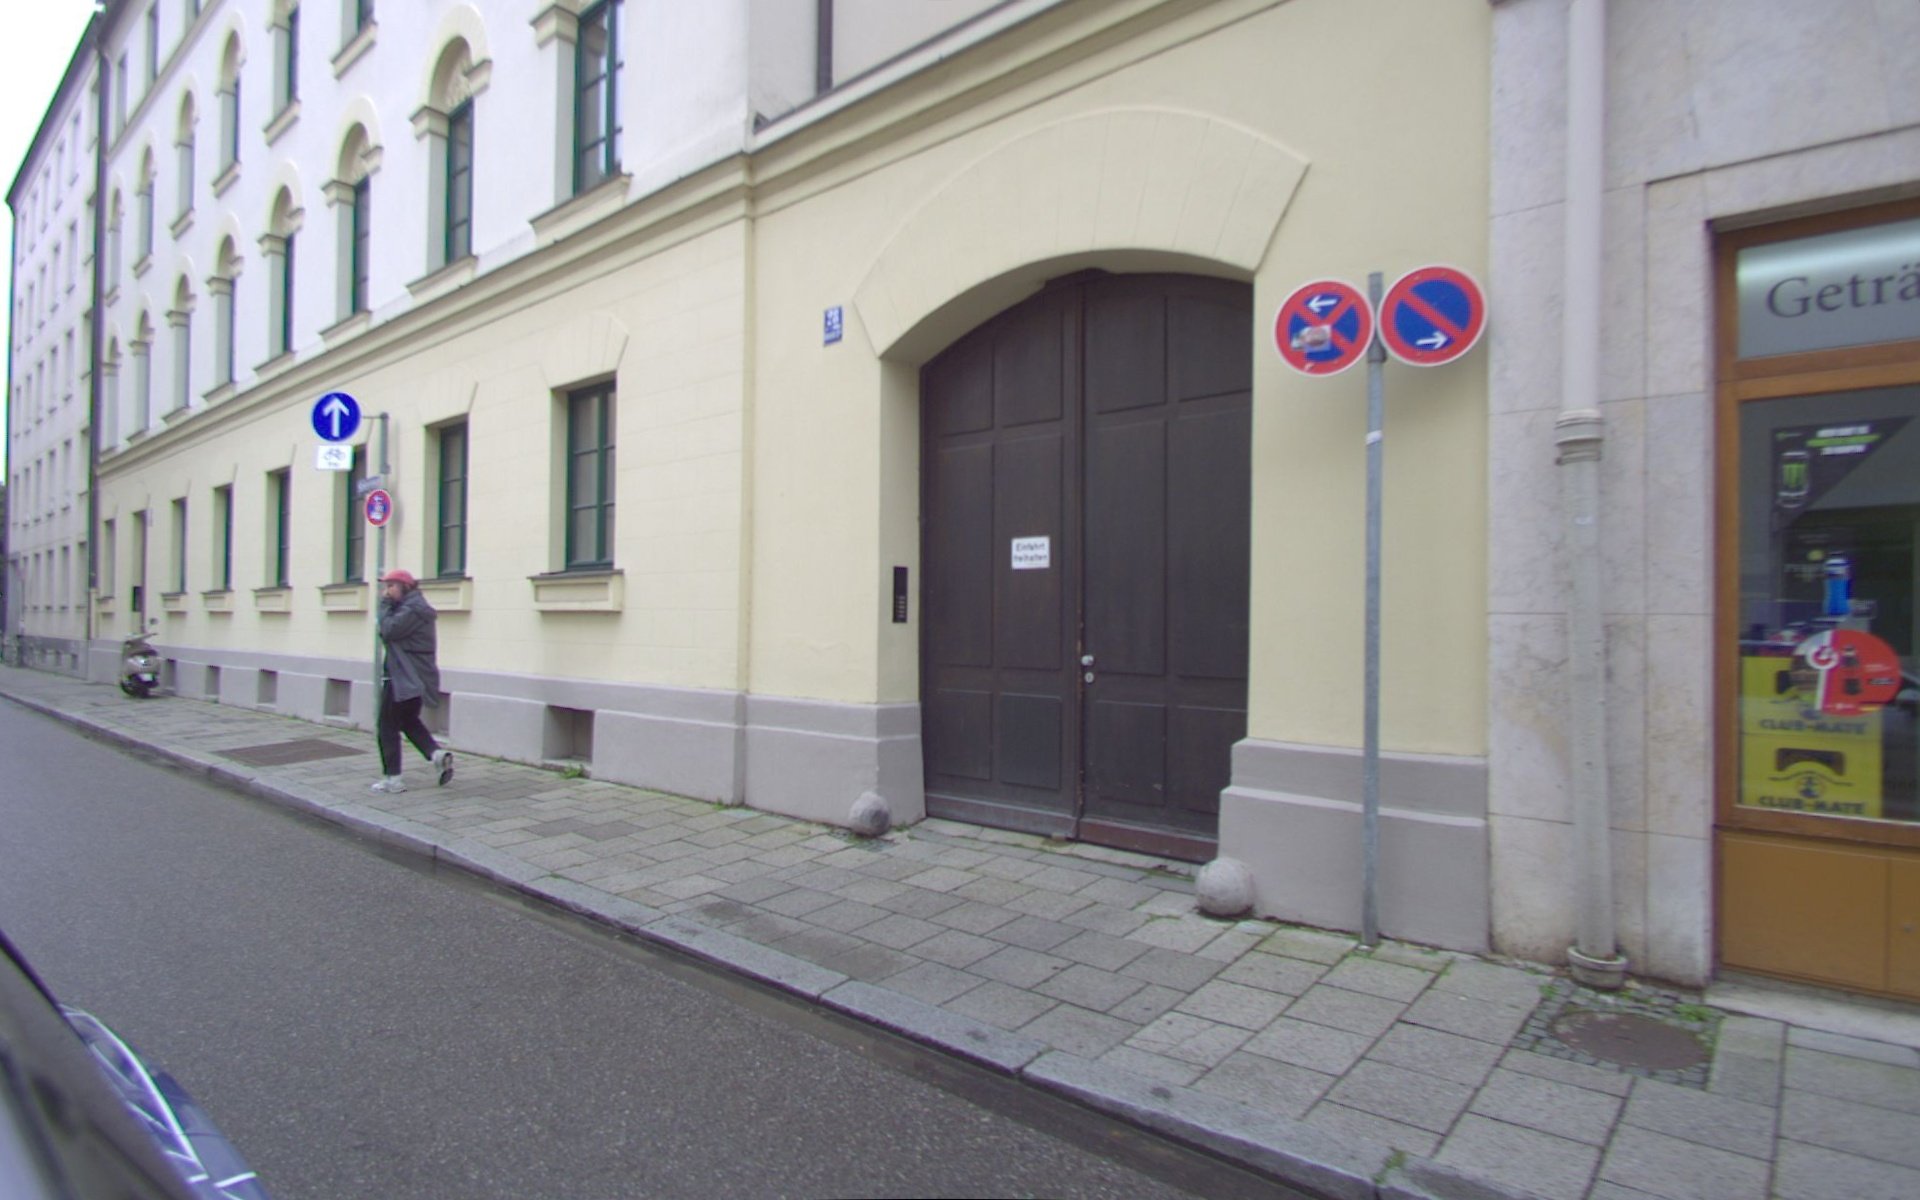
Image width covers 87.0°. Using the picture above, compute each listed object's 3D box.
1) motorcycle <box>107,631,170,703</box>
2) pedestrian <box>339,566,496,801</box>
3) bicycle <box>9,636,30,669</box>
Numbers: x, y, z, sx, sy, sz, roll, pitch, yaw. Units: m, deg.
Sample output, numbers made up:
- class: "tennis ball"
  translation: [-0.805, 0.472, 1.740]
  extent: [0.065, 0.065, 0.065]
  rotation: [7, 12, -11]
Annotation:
- class: "motorcycle"
  translation: [-14.442, 1.146, 17.777]
  extent: [1.708, 1.183, 0.596]
  rotation: [-1, -1, 41]
- class: "pedestrian"
  translation: [-4.425, 0.646, 8.254]
  extent: [0.988, 1.769, 0.801]
  rotation: [-3, -2, 39]
- class: "bicycle"
  translation: [-28.091, 1.551, 30.231]
  extent: [1.574, 0.951, 0.316]
  rotation: [-1, 1, 43]
